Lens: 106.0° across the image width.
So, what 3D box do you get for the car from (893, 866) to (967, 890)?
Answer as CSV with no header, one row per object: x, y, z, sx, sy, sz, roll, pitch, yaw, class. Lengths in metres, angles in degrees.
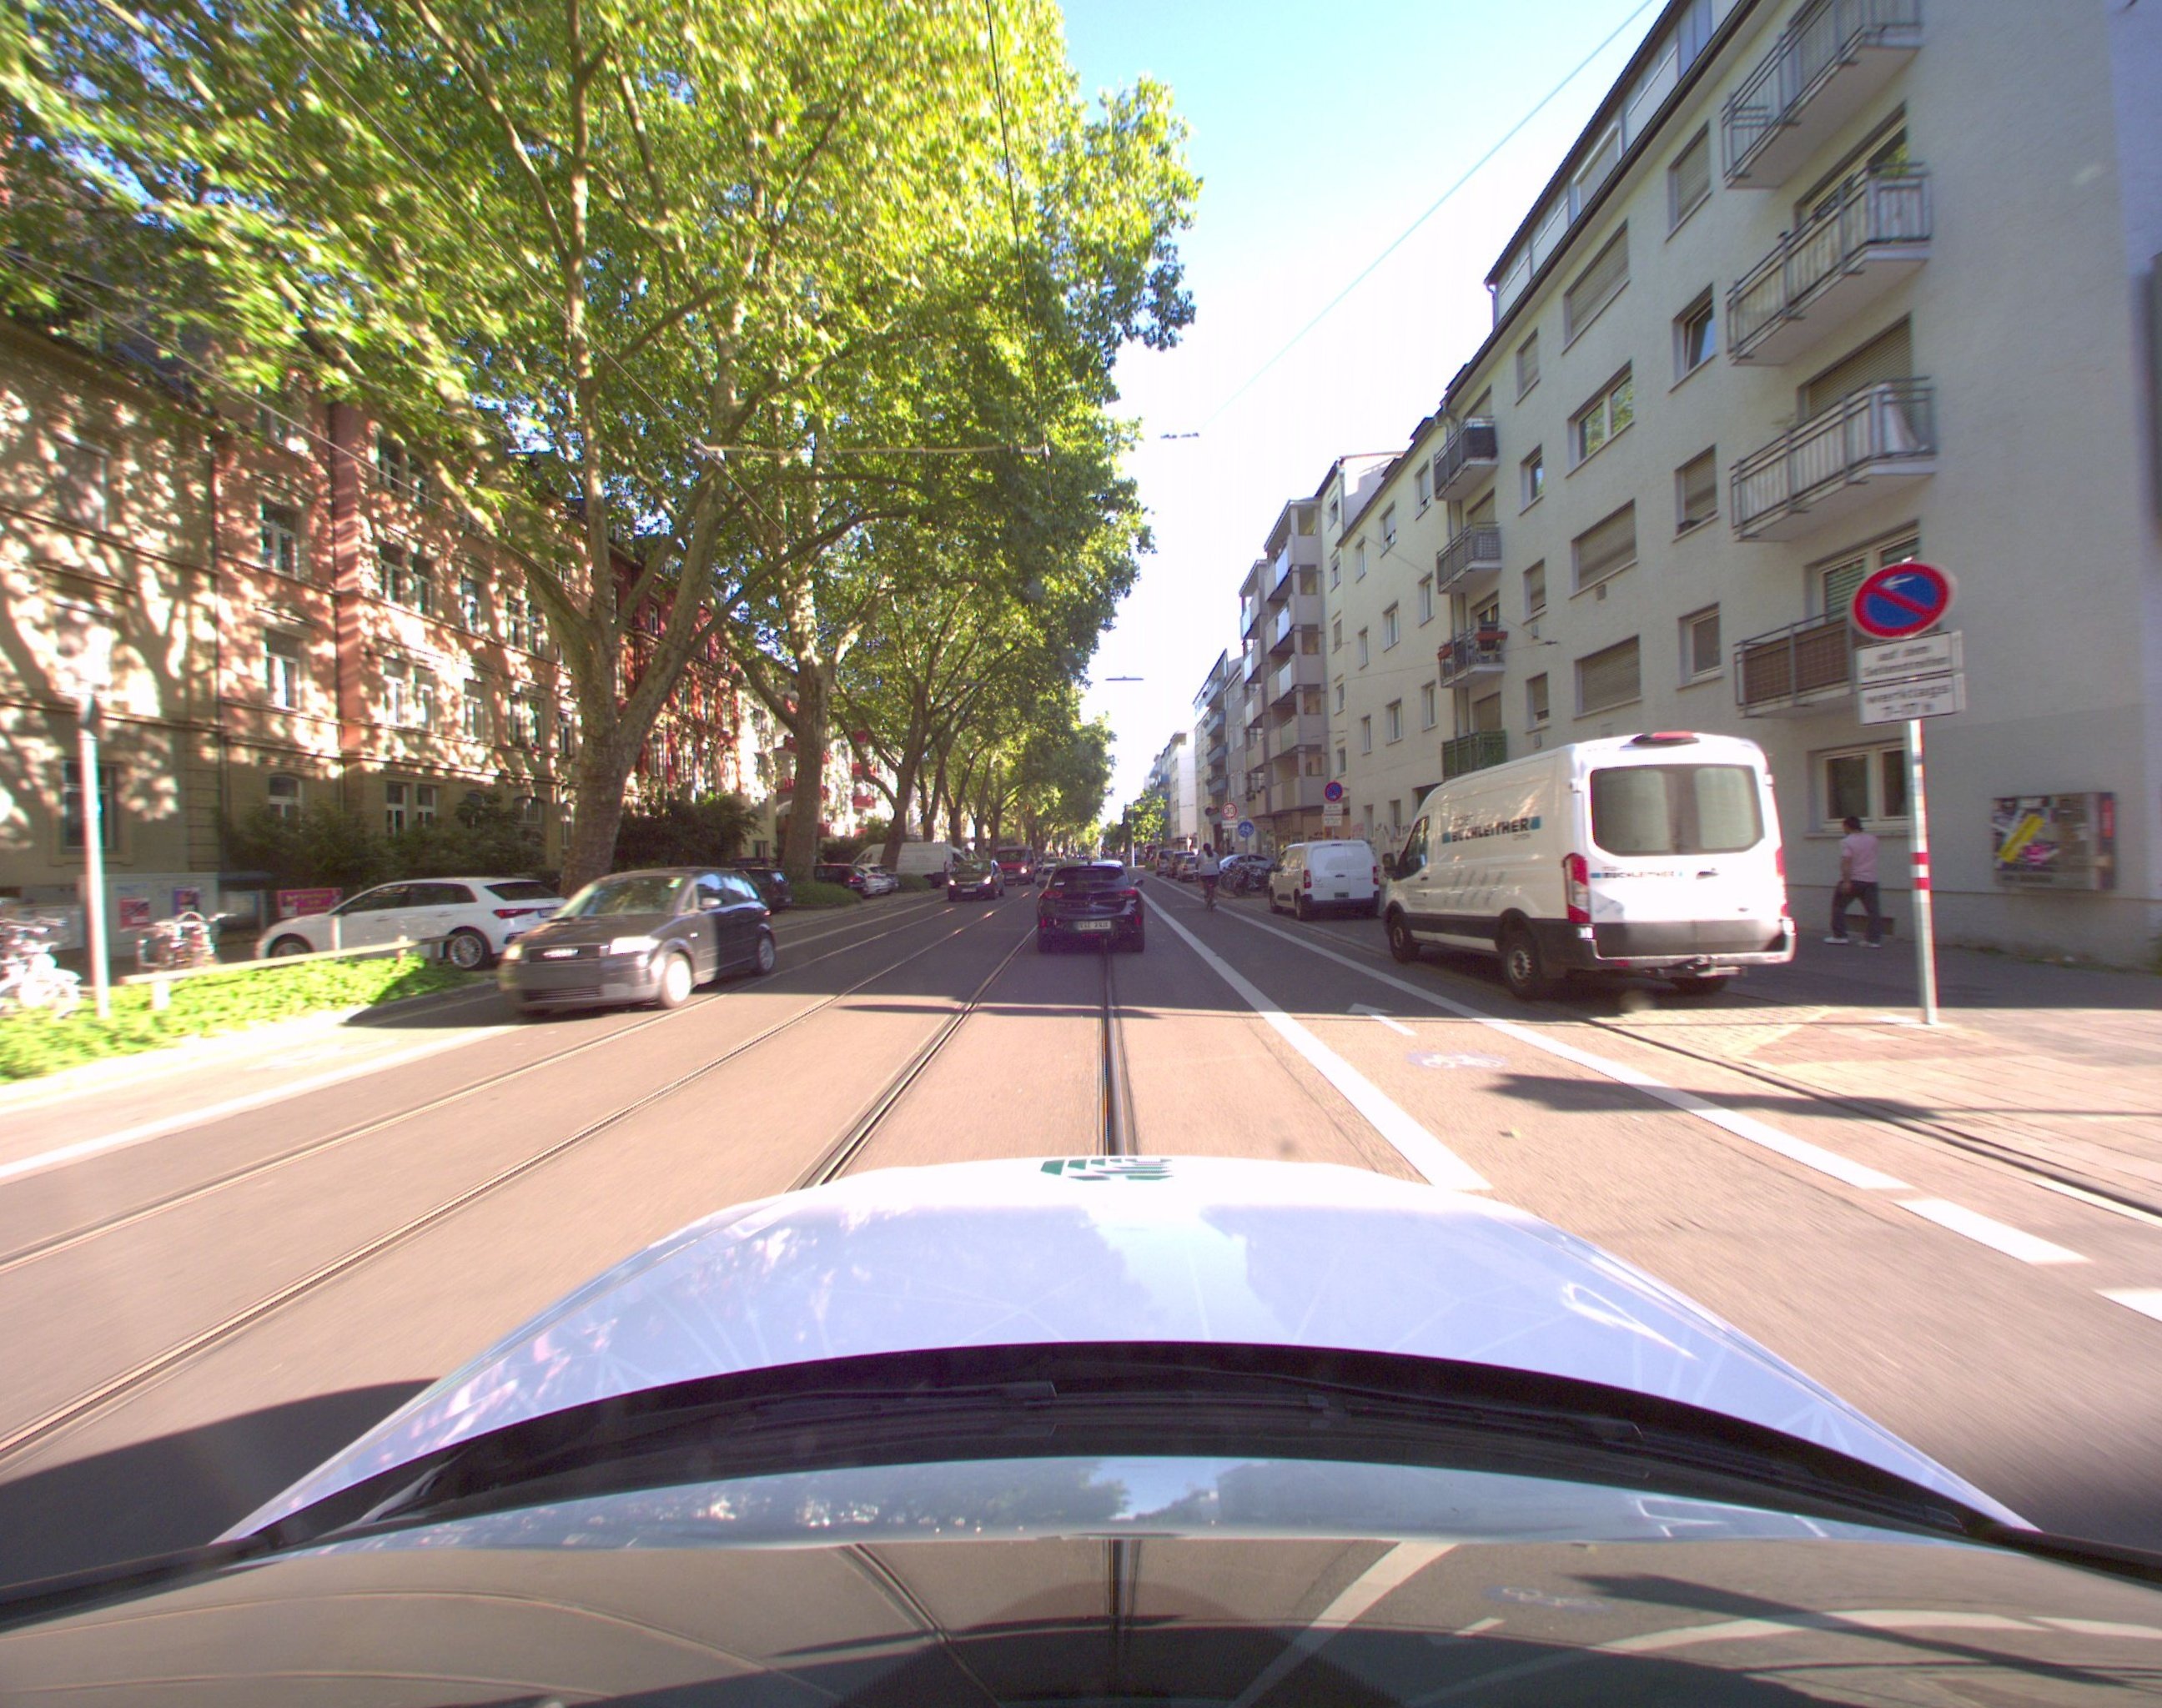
-9.805,1.548,53.119,4.394,1.384,1.934,-1,0,1,car

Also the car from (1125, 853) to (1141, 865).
6.970,0.683,110.053,1.714,1.574,4.080,-2,0,-3,car

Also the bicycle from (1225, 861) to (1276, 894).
6.023,0.839,28.999,1.647,1.055,0.457,-4,0,0,bicycle

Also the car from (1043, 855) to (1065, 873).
-2.209,0.823,67.537,1.713,1.359,4.468,-2,0,0,car

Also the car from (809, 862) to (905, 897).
-10.089,1.119,36.825,3.793,1.432,1.706,-2,0,3,car

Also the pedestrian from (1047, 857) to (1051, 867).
-4.935,1.241,126.357,0.505,1.583,0.527,-2,-1,0,pedestrian

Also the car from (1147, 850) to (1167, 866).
7.895,0.406,85.125,1.851,1.651,4.003,-2,0,3,car

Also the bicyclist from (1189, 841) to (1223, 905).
3.531,0.537,23.029,0.784,1.759,0.915,-1,-1,1,bicyclist

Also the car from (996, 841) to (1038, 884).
-3.478,0.448,44.928,1.911,2.227,4.959,-2,0,0,car

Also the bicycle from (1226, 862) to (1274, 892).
6.242,0.850,30.108,1.647,0.987,0.457,-4,0,0,bicycle

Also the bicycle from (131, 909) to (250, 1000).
-11.480,1.255,10.491,1.784,1.043,0.601,-2,0,28,bicycle

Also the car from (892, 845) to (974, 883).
-10.534,0.724,58.226,5.341,2.477,2.057,-2,0,1,car

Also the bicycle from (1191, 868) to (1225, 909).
3.575,0.955,23.038,0.698,1.092,1.990,0,-1,1,bicycle

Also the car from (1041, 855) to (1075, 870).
-2.765,1.060,98.999,3.973,1.651,1.865,-2,0,1,car

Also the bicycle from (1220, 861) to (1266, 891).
6.273,0.845,31.514,1.647,1.020,0.457,-4,0,0,bicycle

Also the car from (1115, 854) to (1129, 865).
6.759,0.896,134.338,1.989,1.640,3.996,-2,0,-3,car

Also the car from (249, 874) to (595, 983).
-10.348,1.125,13.032,3.974,1.460,1.879,-2,-1,0,car

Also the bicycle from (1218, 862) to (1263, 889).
6.257,0.851,32.006,1.647,0.966,0.457,-4,0,0,bicycle

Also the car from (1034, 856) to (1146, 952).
0.165,0.757,13.984,1.674,1.422,3.628,0,0,1,car

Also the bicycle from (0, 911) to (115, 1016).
-12.097,1.224,9.365,1.903,1.088,0.600,-2,0,19,bicycle

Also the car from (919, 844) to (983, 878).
-10.636,0.582,67.018,4.931,2.567,2.081,-2,0,-2,car

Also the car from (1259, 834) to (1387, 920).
5.792,0.500,20.061,1.852,1.820,4.351,-2,0,1,car

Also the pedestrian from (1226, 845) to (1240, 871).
10.110,0.256,54.200,0.754,1.720,0.720,-2,0,0,pedestrian

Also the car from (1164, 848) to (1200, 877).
6.349,0.497,51.751,1.761,1.705,4.283,-2,0,0,car

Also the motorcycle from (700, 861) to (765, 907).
-12.942,1.090,30.411,1.048,1.631,3.012,0,-1,1,motorcycle

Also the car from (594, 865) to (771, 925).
-10.954,1.112,22.556,3.970,1.460,1.772,-2,0,3,car

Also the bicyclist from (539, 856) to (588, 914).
-16.346,0.971,25.756,0.827,1.763,1.048,-2,0,1,bicyclist

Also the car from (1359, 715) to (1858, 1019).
5.461,0.122,9.878,2.141,2.495,6.089,-1,0,1,car

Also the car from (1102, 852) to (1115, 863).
4.375,0.587,127.886,1.851,1.651,4.003,-2,0,3,car

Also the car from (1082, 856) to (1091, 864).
1.311,1.328,186.293,1.743,1.651,4.003,-2,0,3,car

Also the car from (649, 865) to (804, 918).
-10.902,1.143,25.211,3.970,1.460,1.706,-2,0,3,car

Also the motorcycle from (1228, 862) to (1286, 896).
6.067,0.849,28.047,1.802,1.080,0.621,-3,-1,24,motorcycle

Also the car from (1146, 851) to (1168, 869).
7.176,0.566,77.371,1.851,1.651,4.003,-2,0,3,car

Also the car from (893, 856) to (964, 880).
-10.345,0.948,55.426,4.355,1.539,1.872,-1,0,1,car

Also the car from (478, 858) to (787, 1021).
-5.030,0.836,9.768,1.630,1.510,3.690,-2,0,0,car

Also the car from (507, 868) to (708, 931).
-11.613,1.097,20.134,3.972,1.369,1.606,-2,0,1,car

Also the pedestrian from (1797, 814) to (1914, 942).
9.980,0.303,10.530,0.629,1.581,0.933,0,-1,3,pedestrian

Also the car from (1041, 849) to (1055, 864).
-5.743,0.425,143.830,2.085,2.584,5.998,-2,0,1,car

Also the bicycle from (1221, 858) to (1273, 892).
6.280,0.787,30.821,1.787,1.148,0.704,-4,0,1,bicycle

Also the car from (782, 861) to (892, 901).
-10.194,1.098,34.246,3.972,1.496,1.831,-2,0,1,car

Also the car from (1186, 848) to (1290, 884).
7.680,0.580,40.039,4.614,1.437,1.858,-3,0,-10,car

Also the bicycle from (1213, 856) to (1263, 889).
6.261,0.745,32.487,1.817,1.191,0.457,-4,0,0,bicycle

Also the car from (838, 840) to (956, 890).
-9.820,0.566,43.761,5.720,2.536,2.163,-1,0,1,car

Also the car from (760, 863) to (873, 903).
-10.219,1.110,31.653,3.779,1.460,1.705,-1,0,1,car

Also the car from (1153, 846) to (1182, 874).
6.399,0.422,60.513,1.851,1.890,4.928,-2,0,3,car

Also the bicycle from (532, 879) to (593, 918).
-16.355,1.390,25.751,0.739,1.138,1.781,-2,0,1,bicycle

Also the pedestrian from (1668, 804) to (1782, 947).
8.696,0.284,11.046,0.622,1.823,1.083,-3,-1,3,pedestrian

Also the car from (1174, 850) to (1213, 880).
6.195,0.557,45.105,1.717,1.525,4.516,-2,0,3,car

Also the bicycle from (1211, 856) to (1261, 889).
6.257,0.749,32.969,1.885,1.191,0.457,-4,0,0,bicycle

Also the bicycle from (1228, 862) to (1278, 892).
6.232,0.836,29.562,1.647,0.987,0.457,-4,0,0,bicycle

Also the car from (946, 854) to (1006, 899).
-3.804,0.793,30.022,1.713,1.510,3.721,-2,0,-1,car

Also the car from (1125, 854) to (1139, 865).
7.289,0.808,115.598,1.713,1.490,3.681,-2,0,0,car
